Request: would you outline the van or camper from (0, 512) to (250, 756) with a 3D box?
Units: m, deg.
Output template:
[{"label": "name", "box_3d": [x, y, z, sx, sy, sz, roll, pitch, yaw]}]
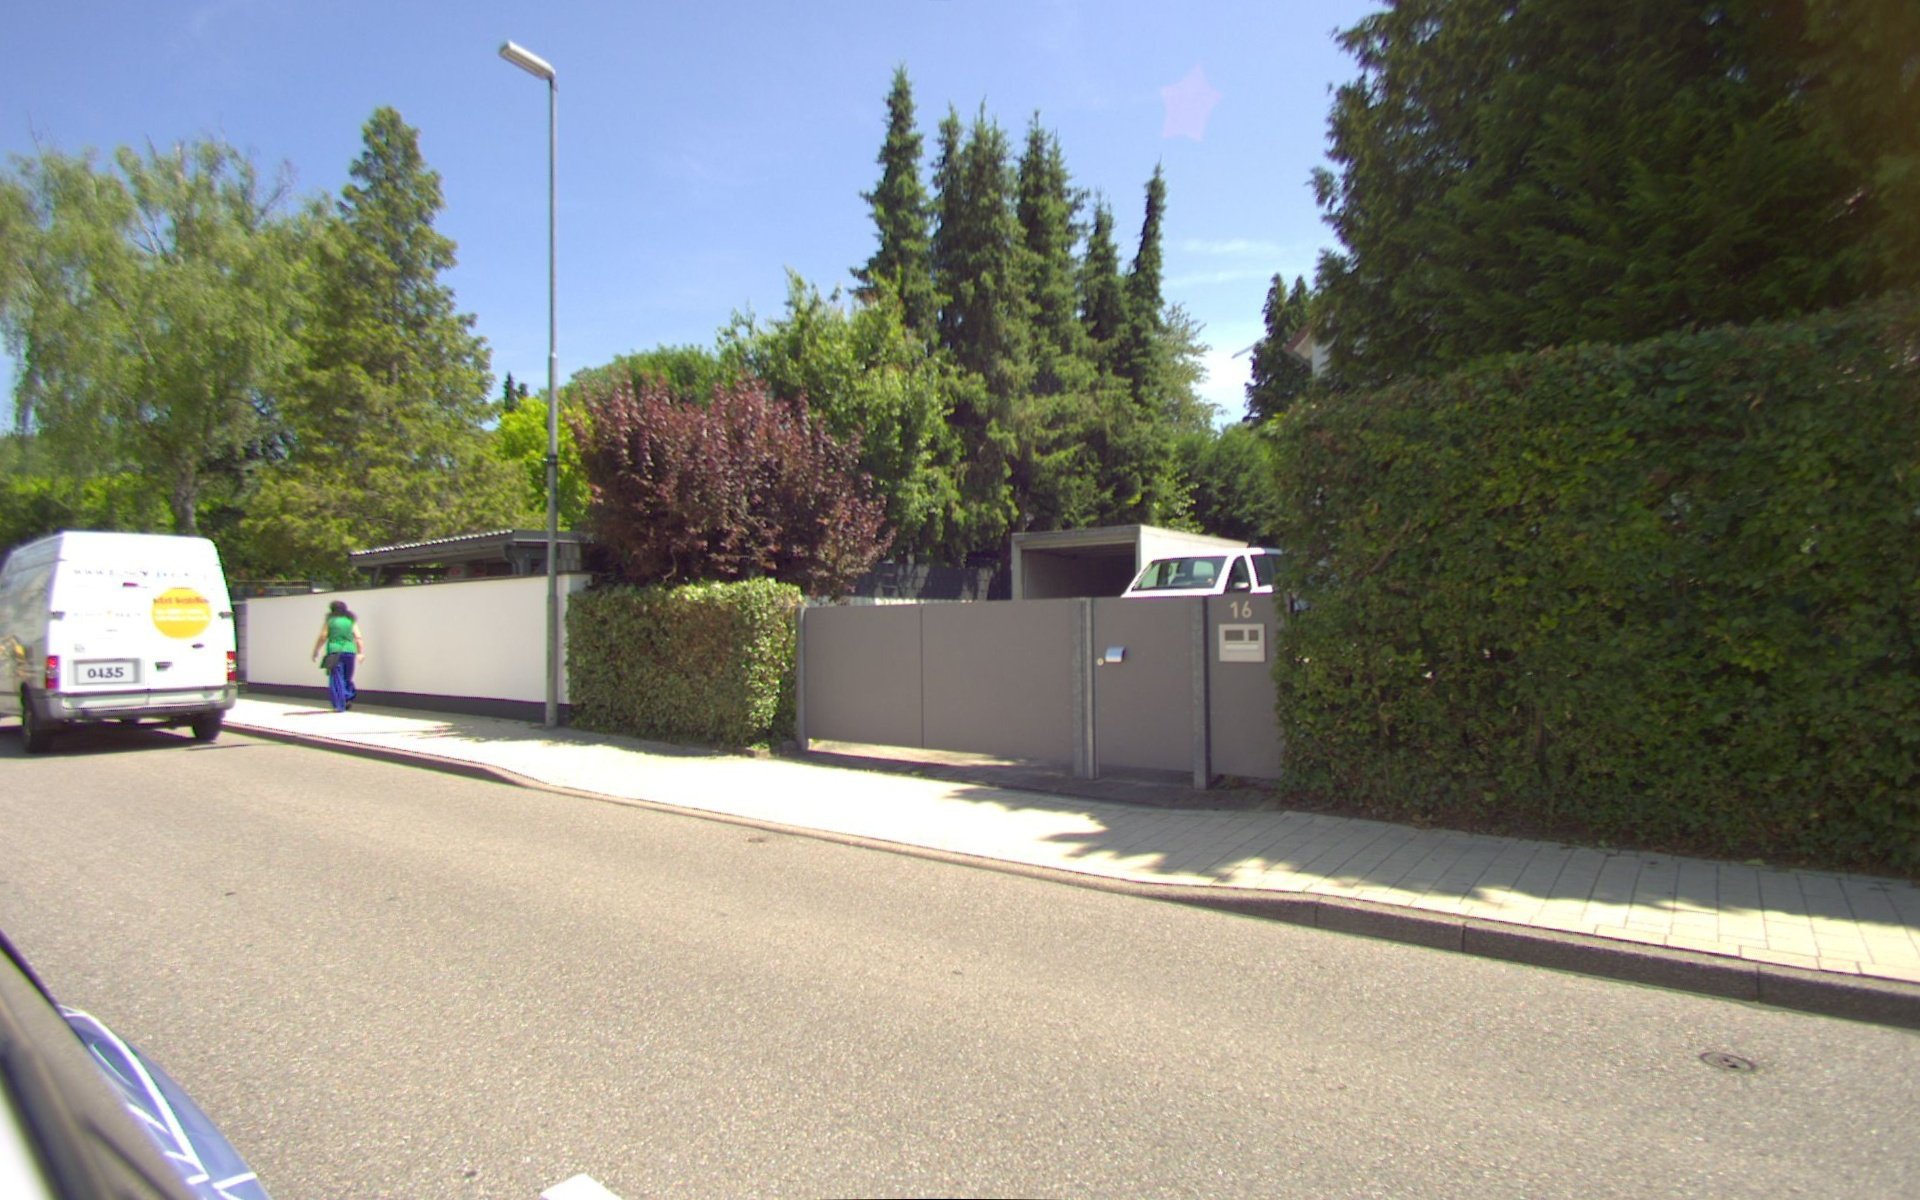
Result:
[{"label": "van or camper", "box_3d": [-11.995, 0.447, 13.934, 5.816, 2.734, 2.018, -1, -2, 38]}]

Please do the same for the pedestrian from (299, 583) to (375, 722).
[{"label": "pedestrian", "box_3d": [-9.406, 0.760, 15.279, 0.803, 2.029, 0.714, -1, 0, 37]}]

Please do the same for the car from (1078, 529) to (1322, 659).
[{"label": "car", "box_3d": [4.243, -0.106, 17.342, 2.160, 1.908, 4.751, -1, 0, 40]}]
